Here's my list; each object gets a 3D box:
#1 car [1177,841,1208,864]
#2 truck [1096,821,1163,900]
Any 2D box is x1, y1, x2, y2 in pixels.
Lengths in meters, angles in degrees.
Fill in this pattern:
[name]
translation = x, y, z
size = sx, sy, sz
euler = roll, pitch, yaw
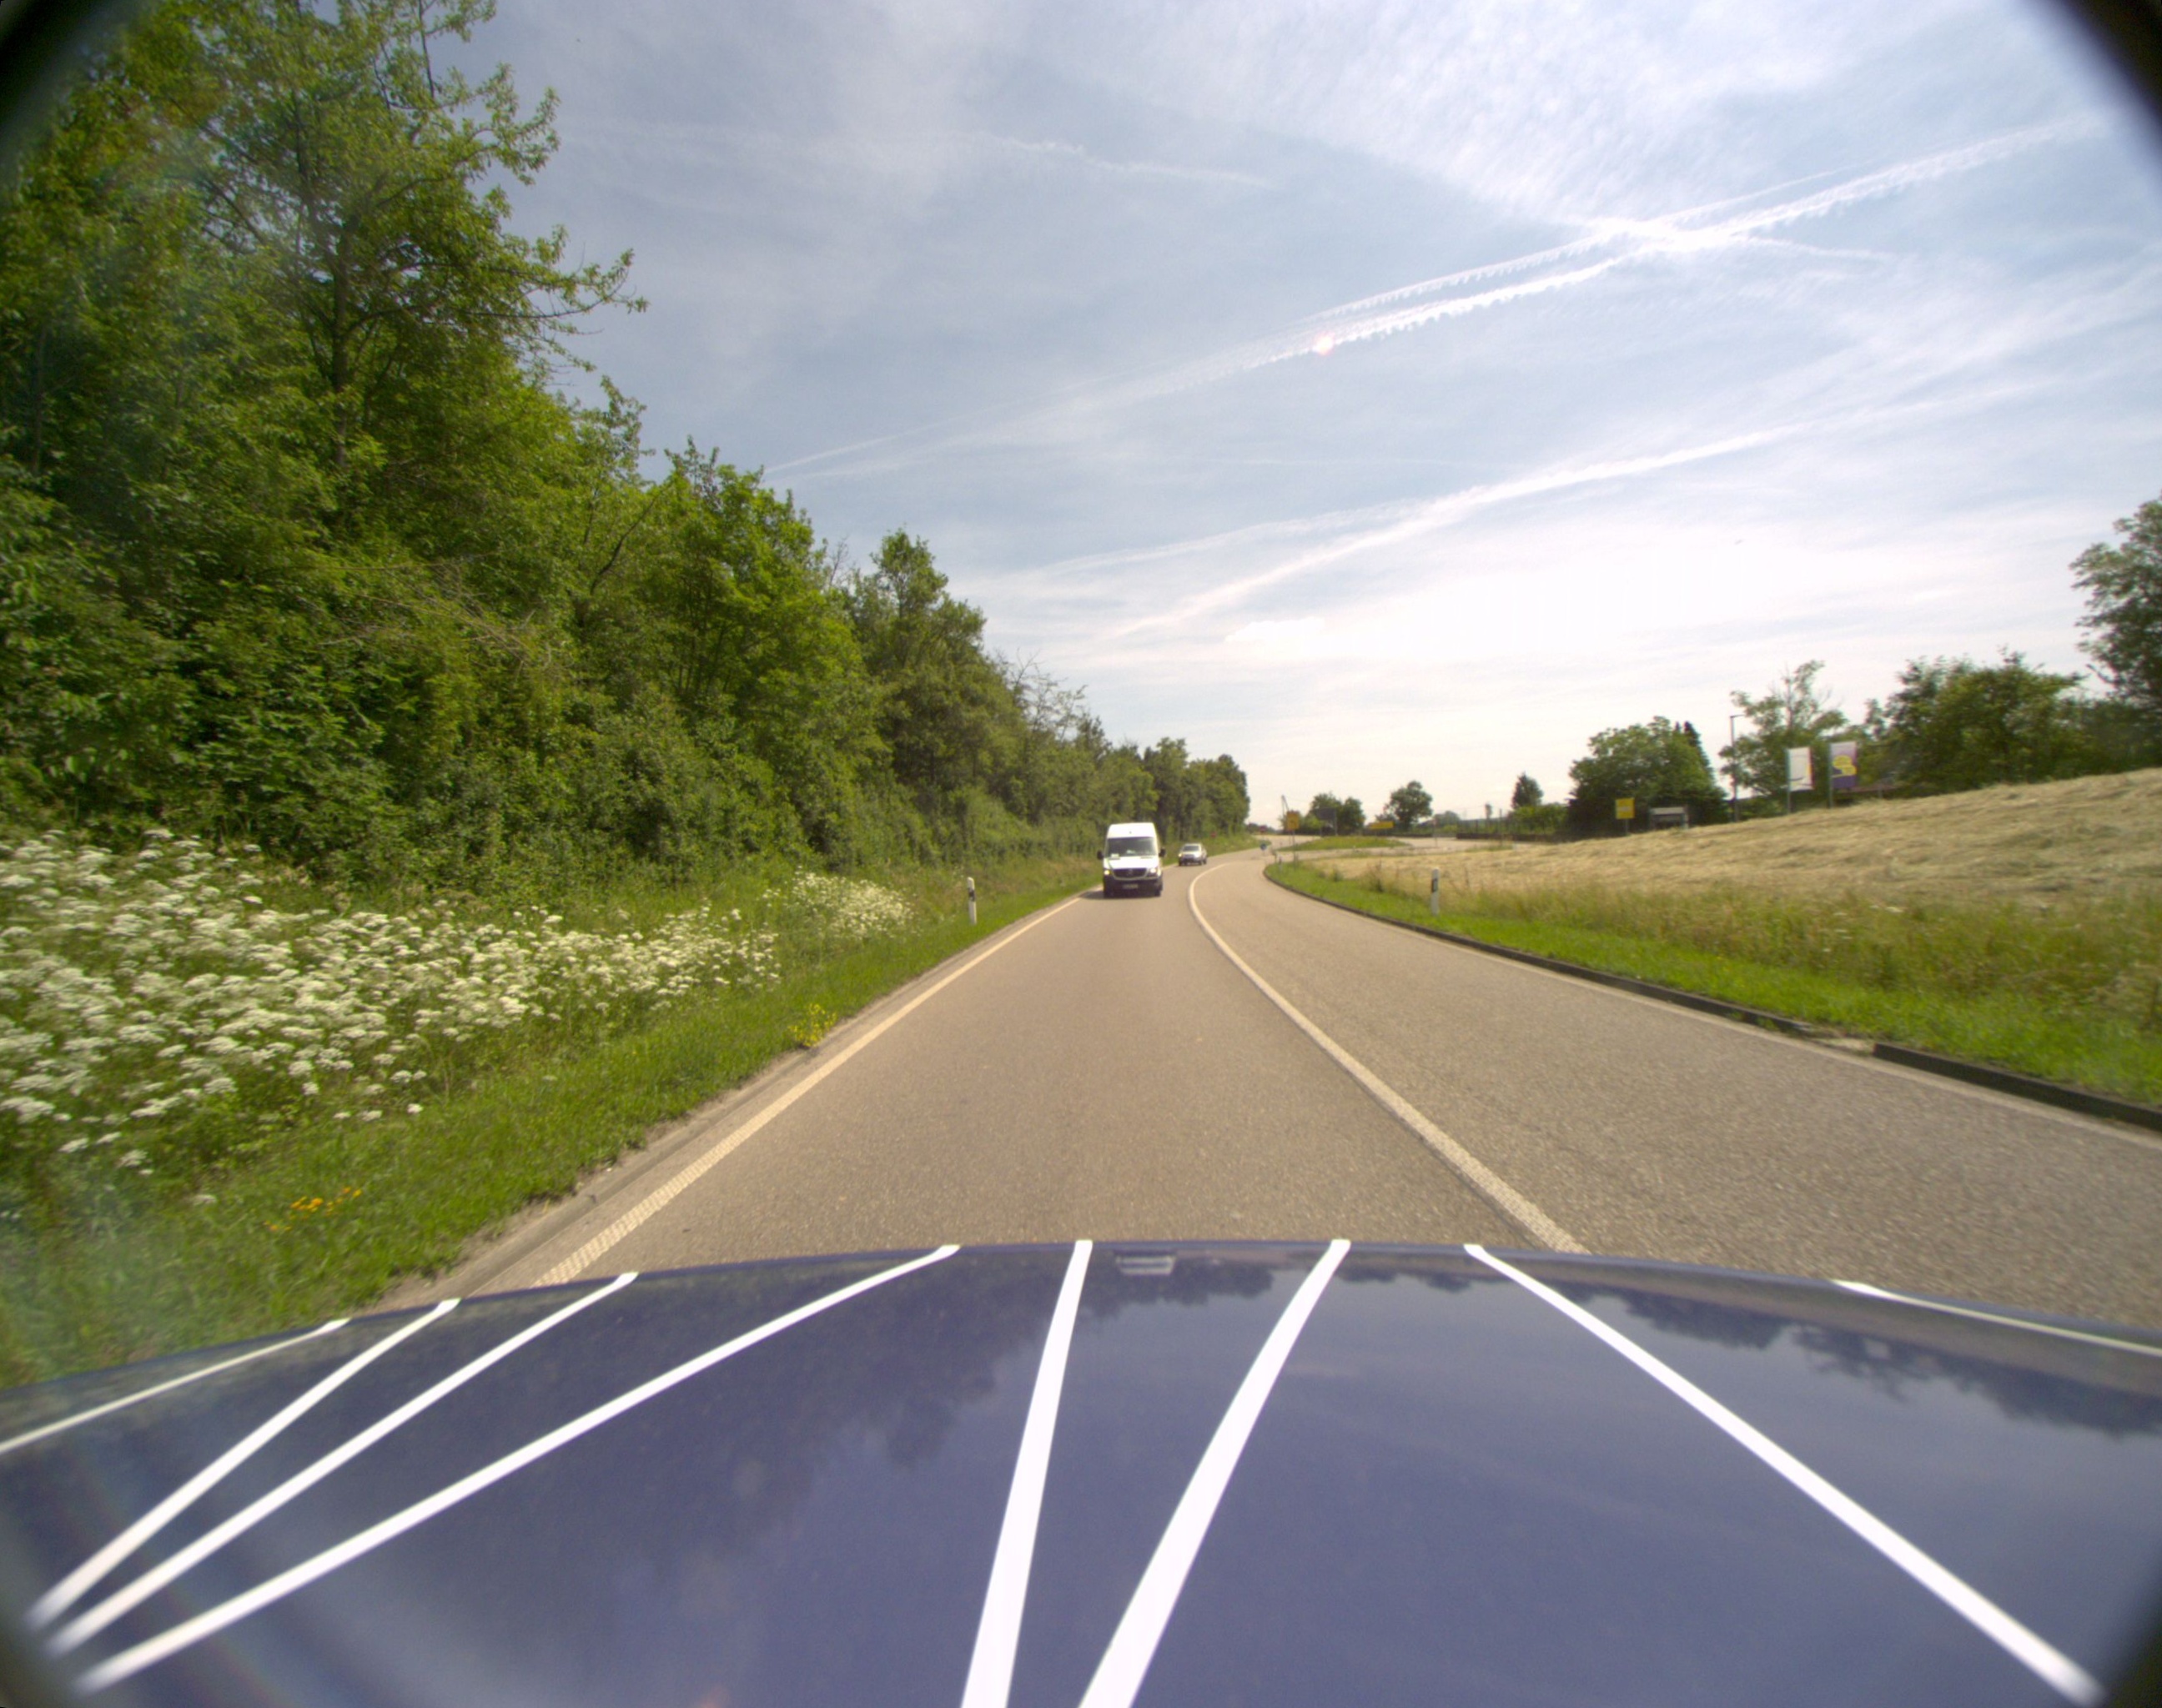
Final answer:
[car]
translation = 8.844, -0.132, 60.191
size = 1.847, 1.698, 4.093
euler = -2, 1, 15
[truck]
translation = 1.916, 0.185, 28.036
size = 1.997, 2.571, 5.890
euler = -1, 1, 8
